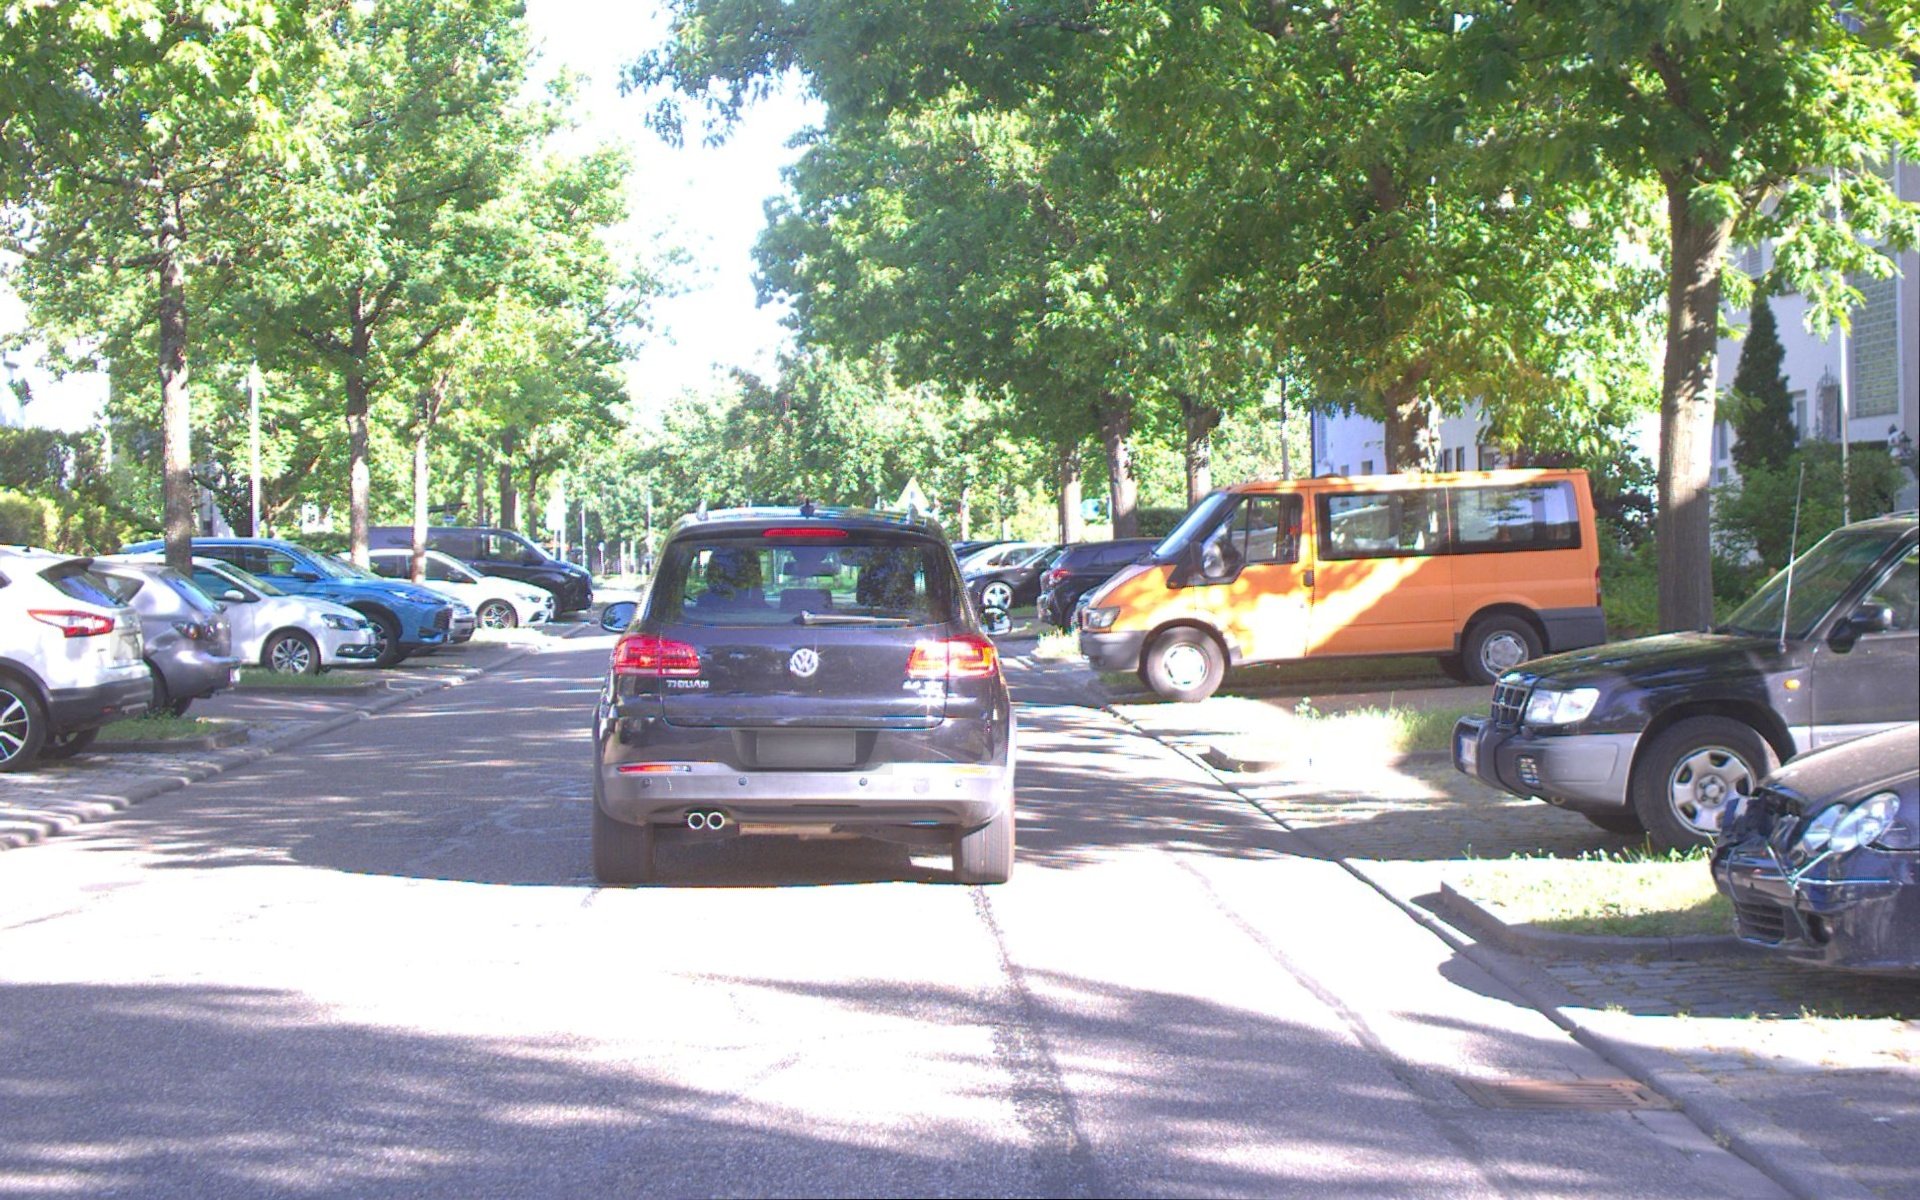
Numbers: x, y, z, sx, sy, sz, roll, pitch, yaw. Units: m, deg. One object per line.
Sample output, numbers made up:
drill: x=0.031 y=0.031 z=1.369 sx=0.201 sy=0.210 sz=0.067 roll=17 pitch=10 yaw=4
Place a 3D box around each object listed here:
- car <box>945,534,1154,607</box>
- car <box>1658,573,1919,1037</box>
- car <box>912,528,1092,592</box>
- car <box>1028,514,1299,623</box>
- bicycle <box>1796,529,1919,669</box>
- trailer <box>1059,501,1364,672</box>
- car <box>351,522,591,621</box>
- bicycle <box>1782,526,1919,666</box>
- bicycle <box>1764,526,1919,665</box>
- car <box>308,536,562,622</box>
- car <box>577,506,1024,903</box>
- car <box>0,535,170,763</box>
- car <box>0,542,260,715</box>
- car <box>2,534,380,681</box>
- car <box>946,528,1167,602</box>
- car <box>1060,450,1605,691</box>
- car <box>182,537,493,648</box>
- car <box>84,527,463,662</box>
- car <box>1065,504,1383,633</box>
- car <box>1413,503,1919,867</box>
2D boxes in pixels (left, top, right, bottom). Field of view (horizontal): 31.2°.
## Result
car: x=1.880 y=-0.635 z=72.960 sx=4.276 sy=1.409 sz=1.797 roll=-2 pitch=1 yaw=-2
car: x=4.658 y=0.523 z=11.085 sx=4.427 sy=1.327 sz=1.691 roll=-3 pitch=1 yaw=1
car: x=1.036 y=-1.016 z=86.665 sx=4.428 sy=1.486 sz=1.797 roll=-2 pitch=1 yaw=-2
car: x=3.016 y=-0.477 z=51.497 sx=3.882 sy=1.511 sz=1.661 roll=-1 pitch=1 yaw=-2
bicycle: x=9.123 y=-0.047 z=31.312 sx=2.858 sy=1.233 sz=0.468 roll=-2 pitch=0 yaw=-1
trailer: x=2.690 y=-0.153 z=37.162 sx=2.945 sy=1.658 sz=1.615 roll=-3 pitch=0 yaw=-8
car: x=-10.133 y=-0.615 z=71.602 sx=4.778 sy=1.910 sz=2.019 roll=-2 pitch=1 yaw=-4
bicycle: x=9.117 y=-0.077 z=31.799 sx=2.858 sy=1.233 sz=0.468 roll=-3 pitch=0 yaw=-1
bicycle: x=9.057 y=-0.075 z=32.296 sx=2.858 sy=1.233 sz=0.468 roll=-2 pitch=1 yaw=-1
car: x=-9.284 y=-0.383 z=61.023 sx=4.275 sy=1.473 sz=1.769 roll=0 pitch=1 yaw=-2
car: x=-0.661 y=0.401 z=16.154 sx=1.838 sy=1.631 sz=3.958 roll=0 pitch=1 yaw=0
car: x=-8.010 y=0.305 z=24.816 sx=4.187 sy=1.561 sz=1.792 roll=1 pitch=1 yaw=0
car: x=-8.327 y=0.209 z=30.178 sx=4.033 sy=1.418 sz=1.810 roll=1 pitch=1 yaw=-3
car: x=-8.896 y=0.083 z=40.011 sx=3.986 sy=1.590 sz=1.857 roll=-1 pitch=0 yaw=-2
car: x=1.949 y=-0.713 z=70.237 sx=4.345 sy=1.358 sz=1.874 roll=-2 pitch=0 yaw=-3
car: x=3.432 y=-0.290 z=32.383 sx=4.818 sy=2.076 sz=2.086 roll=-1 pitch=1 yaw=-2
car: x=-8.931 y=-0.106 z=49.536 sx=4.182 sy=1.487 sz=1.647 roll=-1 pitch=0 yaw=-2
car: x=-8.831 y=-0.078 z=44.514 sx=4.523 sy=1.625 sz=1.937 roll=-1 pitch=0 yaw=-2
car: x=3.495 y=-0.415 z=45.936 sx=3.986 sy=1.618 sz=1.757 roll=-1 pitch=0 yaw=-4
car: x=4.501 y=0.320 z=16.392 sx=4.337 sy=1.555 sz=1.868 roll=-2 pitch=1 yaw=-2
